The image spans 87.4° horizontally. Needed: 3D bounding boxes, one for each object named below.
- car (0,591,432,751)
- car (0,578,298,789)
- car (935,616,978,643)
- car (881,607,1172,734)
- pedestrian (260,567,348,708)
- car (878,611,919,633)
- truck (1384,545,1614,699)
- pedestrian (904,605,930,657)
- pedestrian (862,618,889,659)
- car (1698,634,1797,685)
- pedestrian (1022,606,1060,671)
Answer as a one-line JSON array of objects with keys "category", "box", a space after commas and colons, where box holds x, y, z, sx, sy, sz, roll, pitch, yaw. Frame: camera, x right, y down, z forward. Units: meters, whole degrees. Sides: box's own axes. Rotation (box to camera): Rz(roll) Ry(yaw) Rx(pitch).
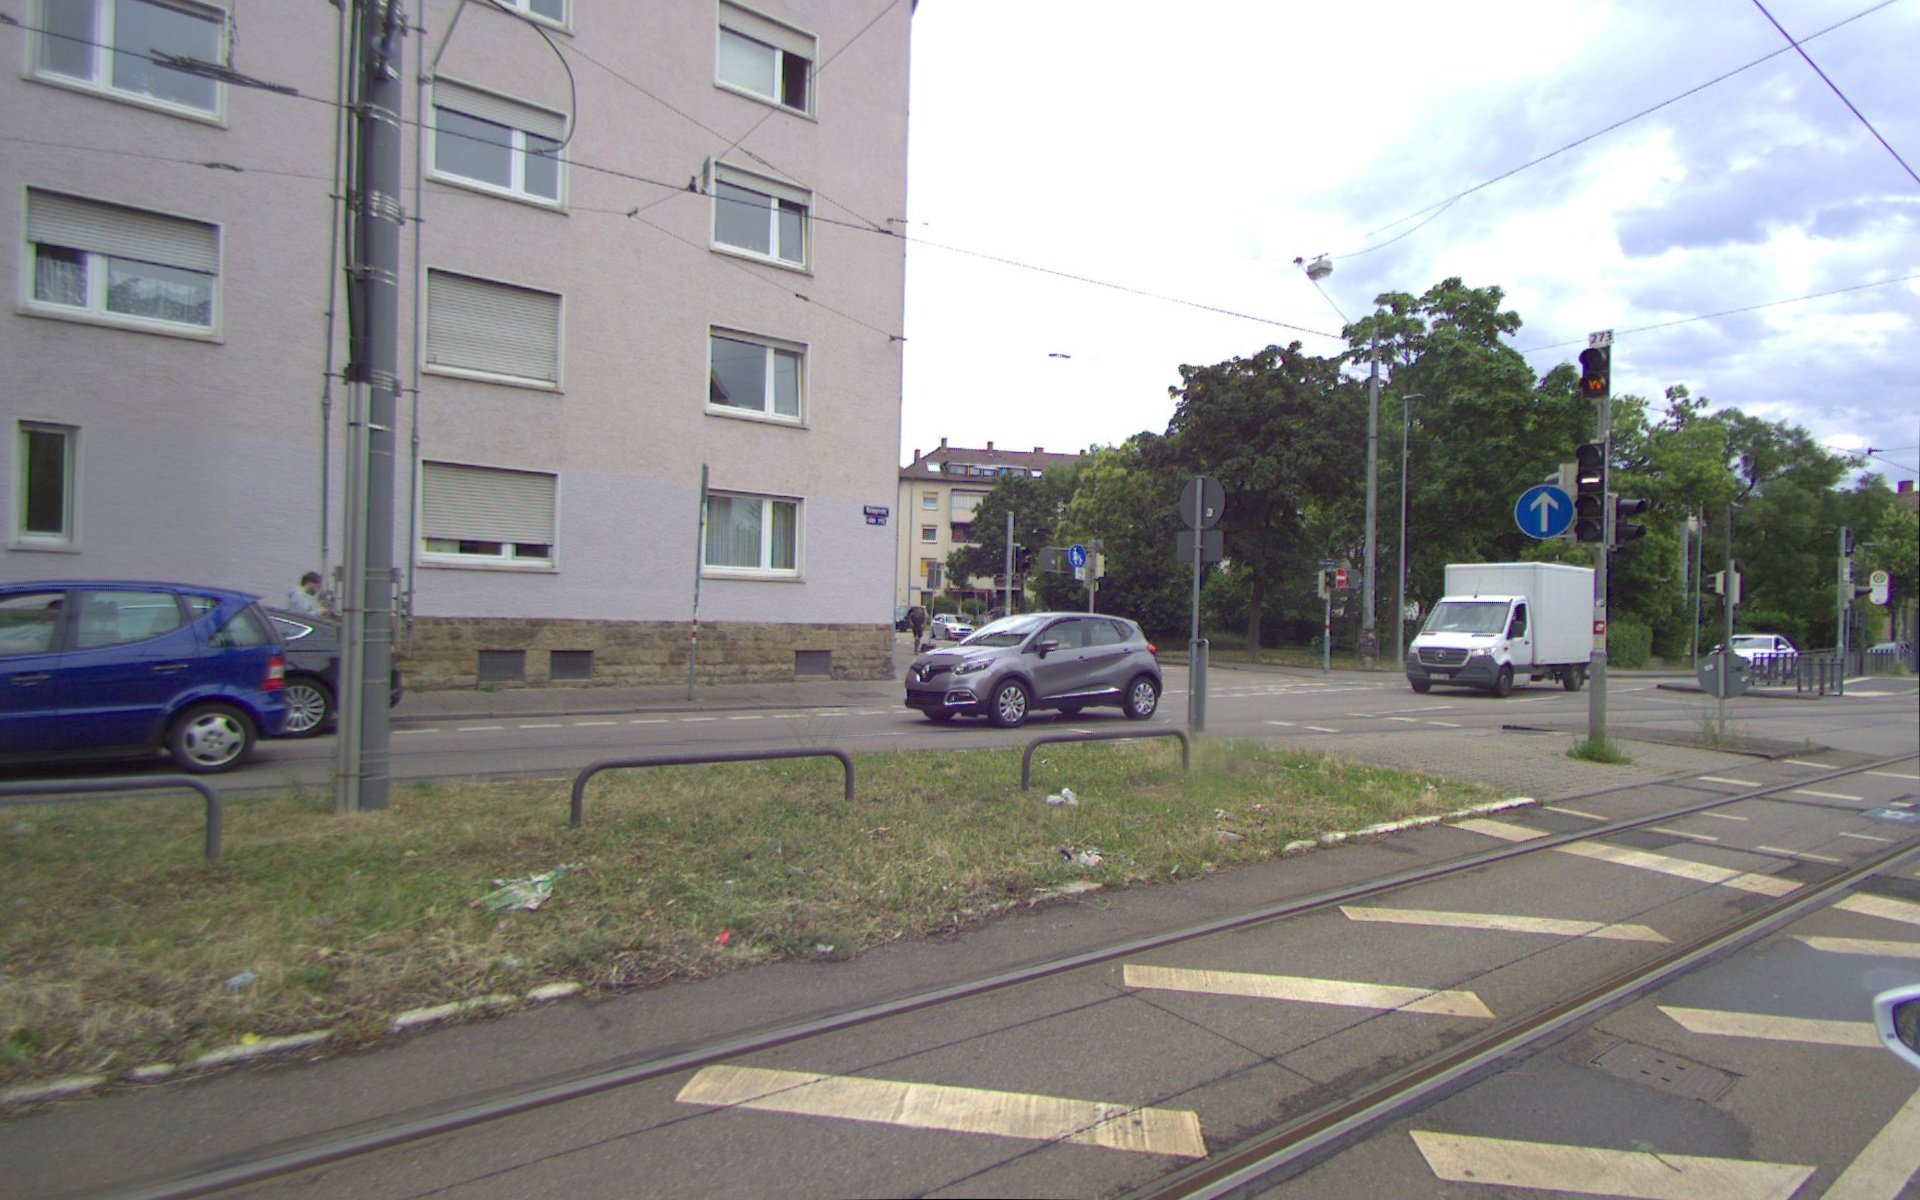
[{"category": "car", "box": [-8.388, 0.691, 10.661, 4.720, 1.462, 1.622, 2, 0, -38]}, {"category": "car", "box": [-7.567, 0.610, 8.074, 3.599, 1.555, 1.631, 3, -1, -39]}, {"category": "car", "box": [-0.235, 1.635, 56.427, 1.963, 1.372, 4.032, 2, -1, -7]}, {"category": "car", "box": [1.046, 0.958, 14.434, 4.095, 1.555, 1.631, 3, -1, -38]}, {"category": "pedestrian", "box": [-8.716, 0.489, 13.343, 0.892, 1.790, 0.792, 2, -1, -37]}, {"category": "car", "box": [-4.303, 1.545, 70.739, 1.607, 1.462, 3.953, 2, 0, 17]}, {"category": "truck", "box": [13.049, 0.564, 23.990, 7.270, 3.199, 2.167, 3, -1, -39]}, {"category": "pedestrian", "box": [-1.541, 1.098, 35.994, 0.673, 1.837, 0.719, 2, 0, -20]}, {"category": "pedestrian", "box": [-2.755, 1.253, 32.839, 0.680, 1.305, 0.728, 2, 0, -20]}, {"category": "car", "box": [28.307, 2.121, 36.057, 4.497, 1.661, 1.757, 3, -1, -38]}, {"category": "pedestrian", "box": [2.426, 1.145, 30.020, 1.025, 1.899, 0.836, 1, -1, 0]}]
